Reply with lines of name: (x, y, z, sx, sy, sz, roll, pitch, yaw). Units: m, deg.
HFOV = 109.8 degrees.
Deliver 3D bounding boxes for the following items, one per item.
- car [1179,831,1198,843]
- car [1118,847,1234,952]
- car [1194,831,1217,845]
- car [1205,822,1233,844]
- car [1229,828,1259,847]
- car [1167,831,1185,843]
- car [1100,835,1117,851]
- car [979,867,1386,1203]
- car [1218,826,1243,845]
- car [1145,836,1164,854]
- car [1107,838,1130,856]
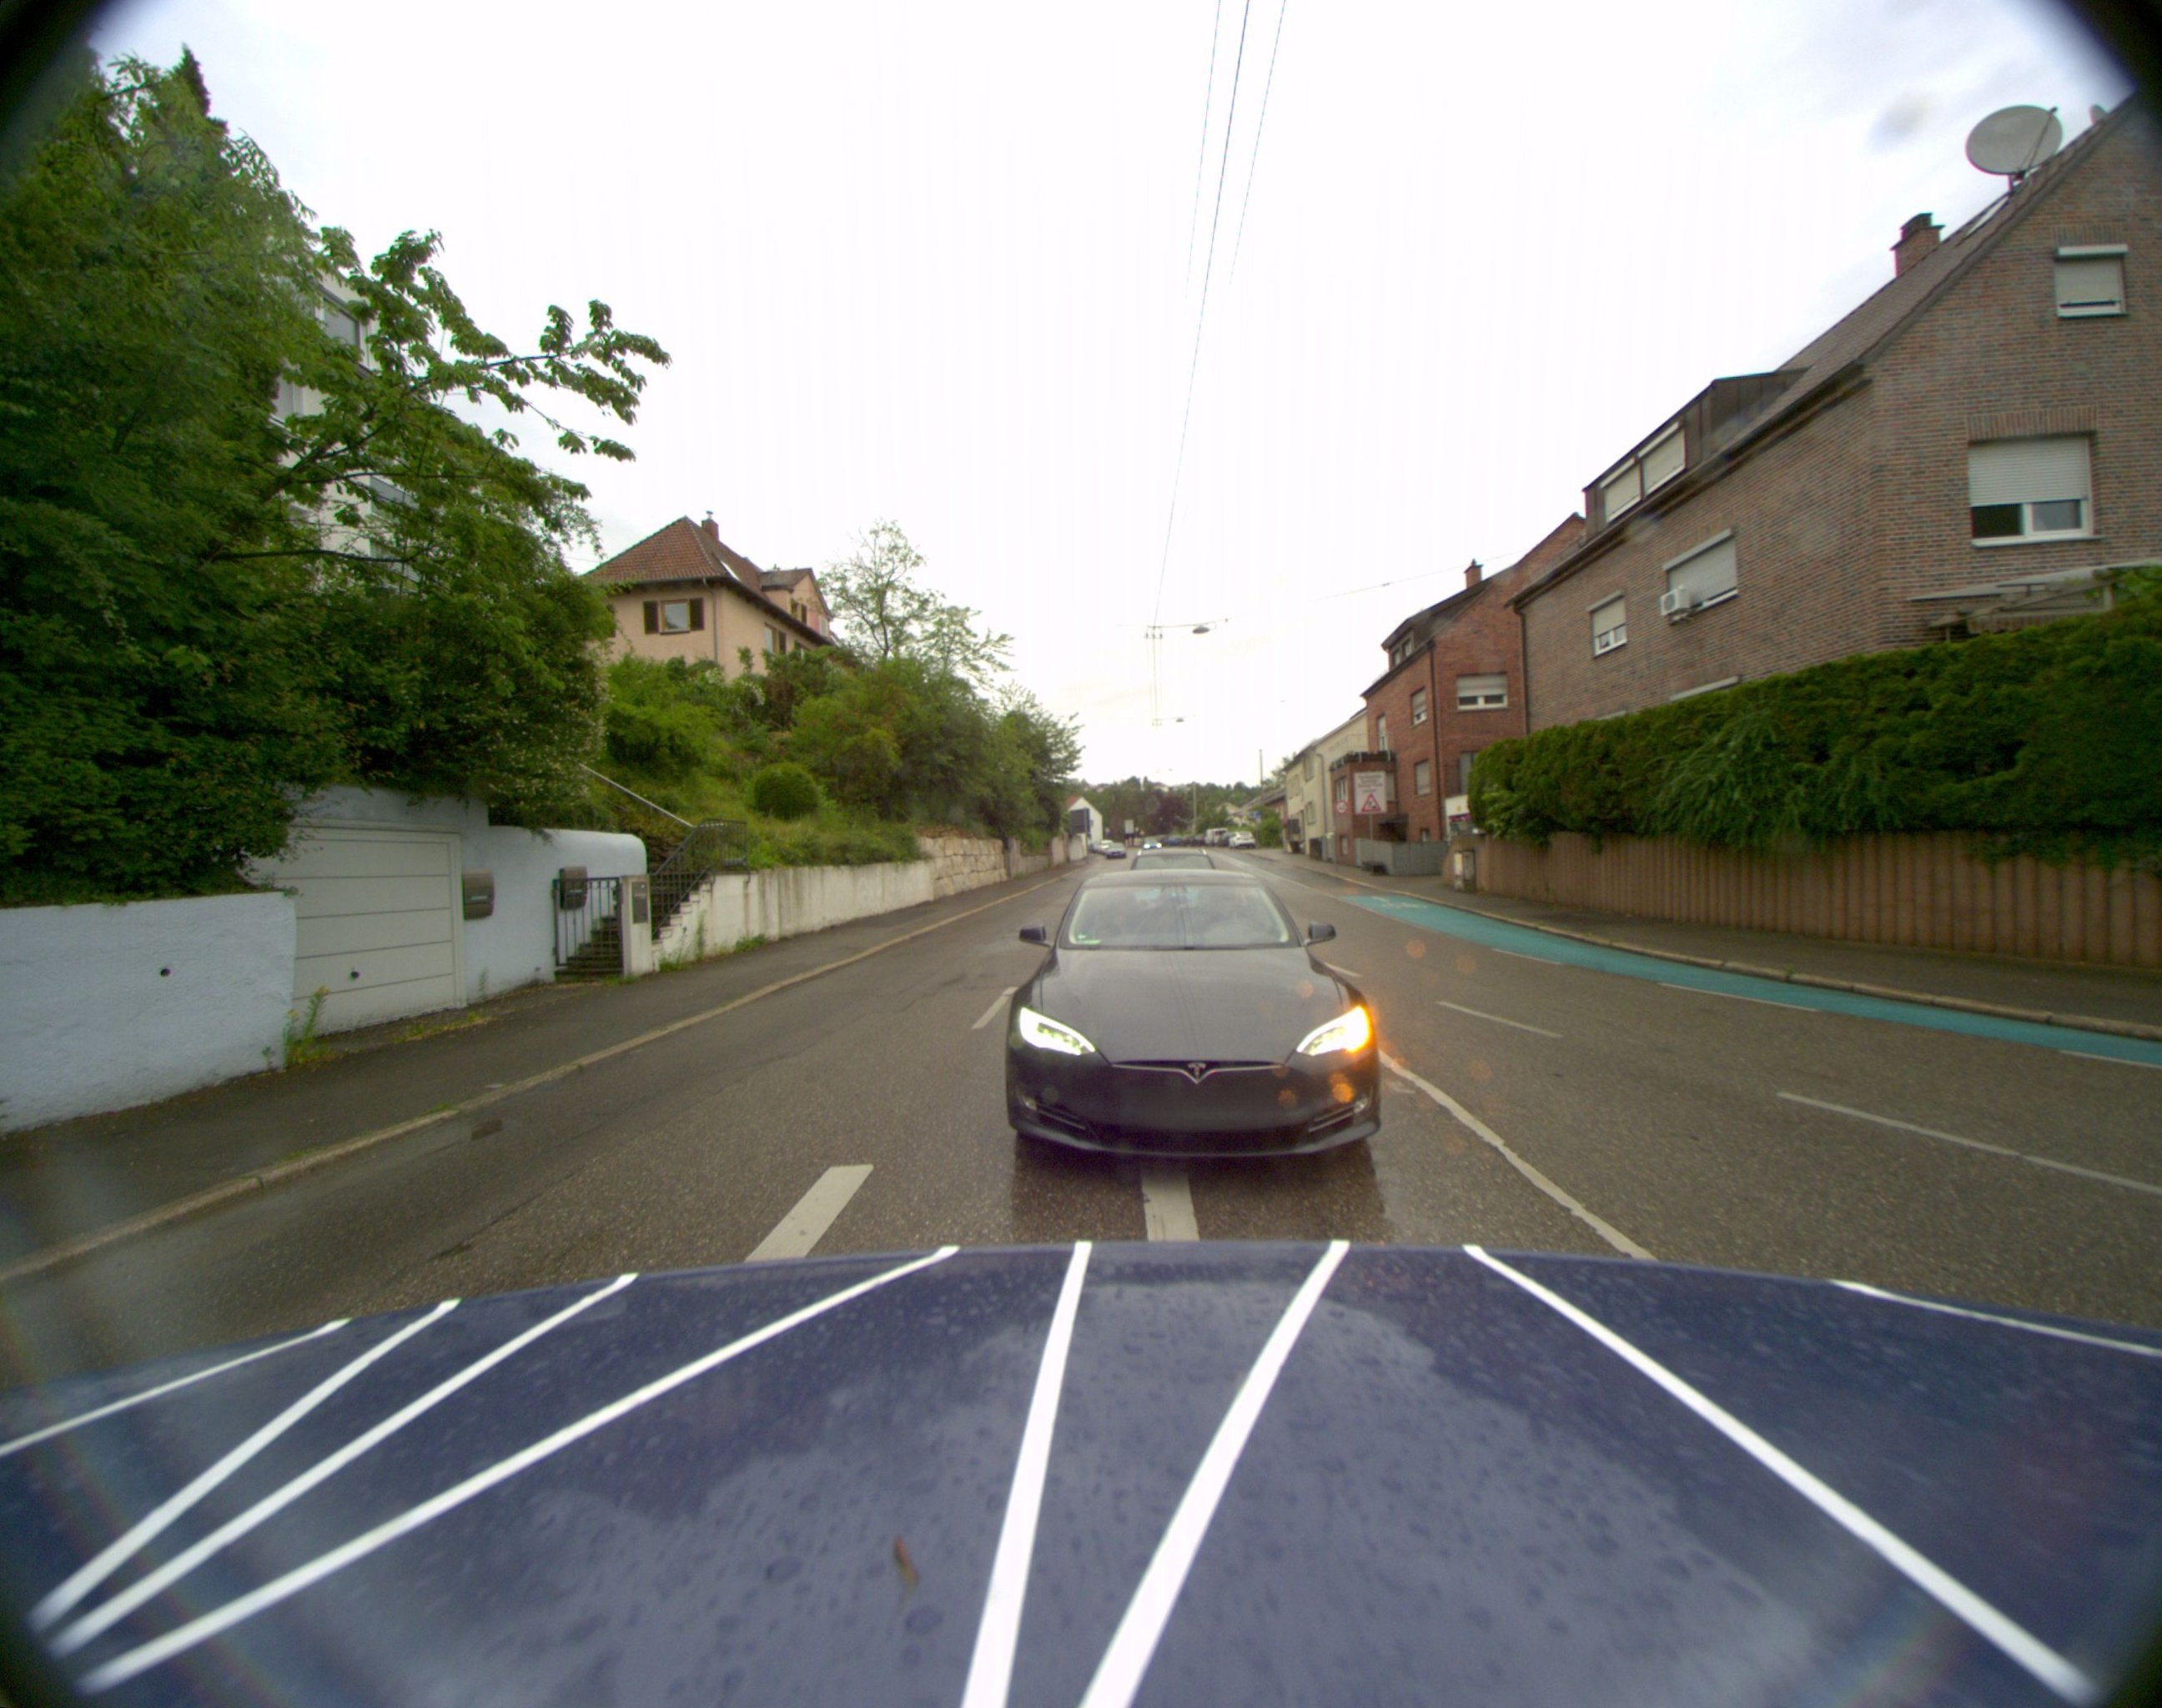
car: (13.763, -2.175, 97.425, 1.654, 1.388, 3.859, -4, 1, -4)
car: (1.652, 0.708, 14.004, 1.789, 1.580, 3.784, -2, 1, 4)
car: (15.019, -1.940, 91.515, 1.654, 1.482, 4.009, -4, 1, -6)
car: (15.620, -2.346, 86.144, 2.257, 2.273, 4.546, -4, 1, 0)
car: (15.362, -1.564, 71.967, 1.946, 1.557, 4.263, -4, 1, 2)
car: (12.840, -2.260, 102.734, 1.624, 1.482, 3.901, -4, 1, -4)
car: (3.190, -1.314, 89.220, 1.820, 1.855, 4.038, -2, 2, -1)
car: (0.616, 0.907, 5.579, 1.870, 1.407, 4.000, -2, 1, 4)
car: (15.730, -1.916, 80.115, 1.814, 1.793, 4.263, -4, 1, 2)
car: (7.805, -0.943, 81.095, 1.816, 1.720, 4.002, -2, -1, 4)
car: (3.652, -0.640, 73.173, 2.002, 1.596, 4.360, -2, -1, 4)
